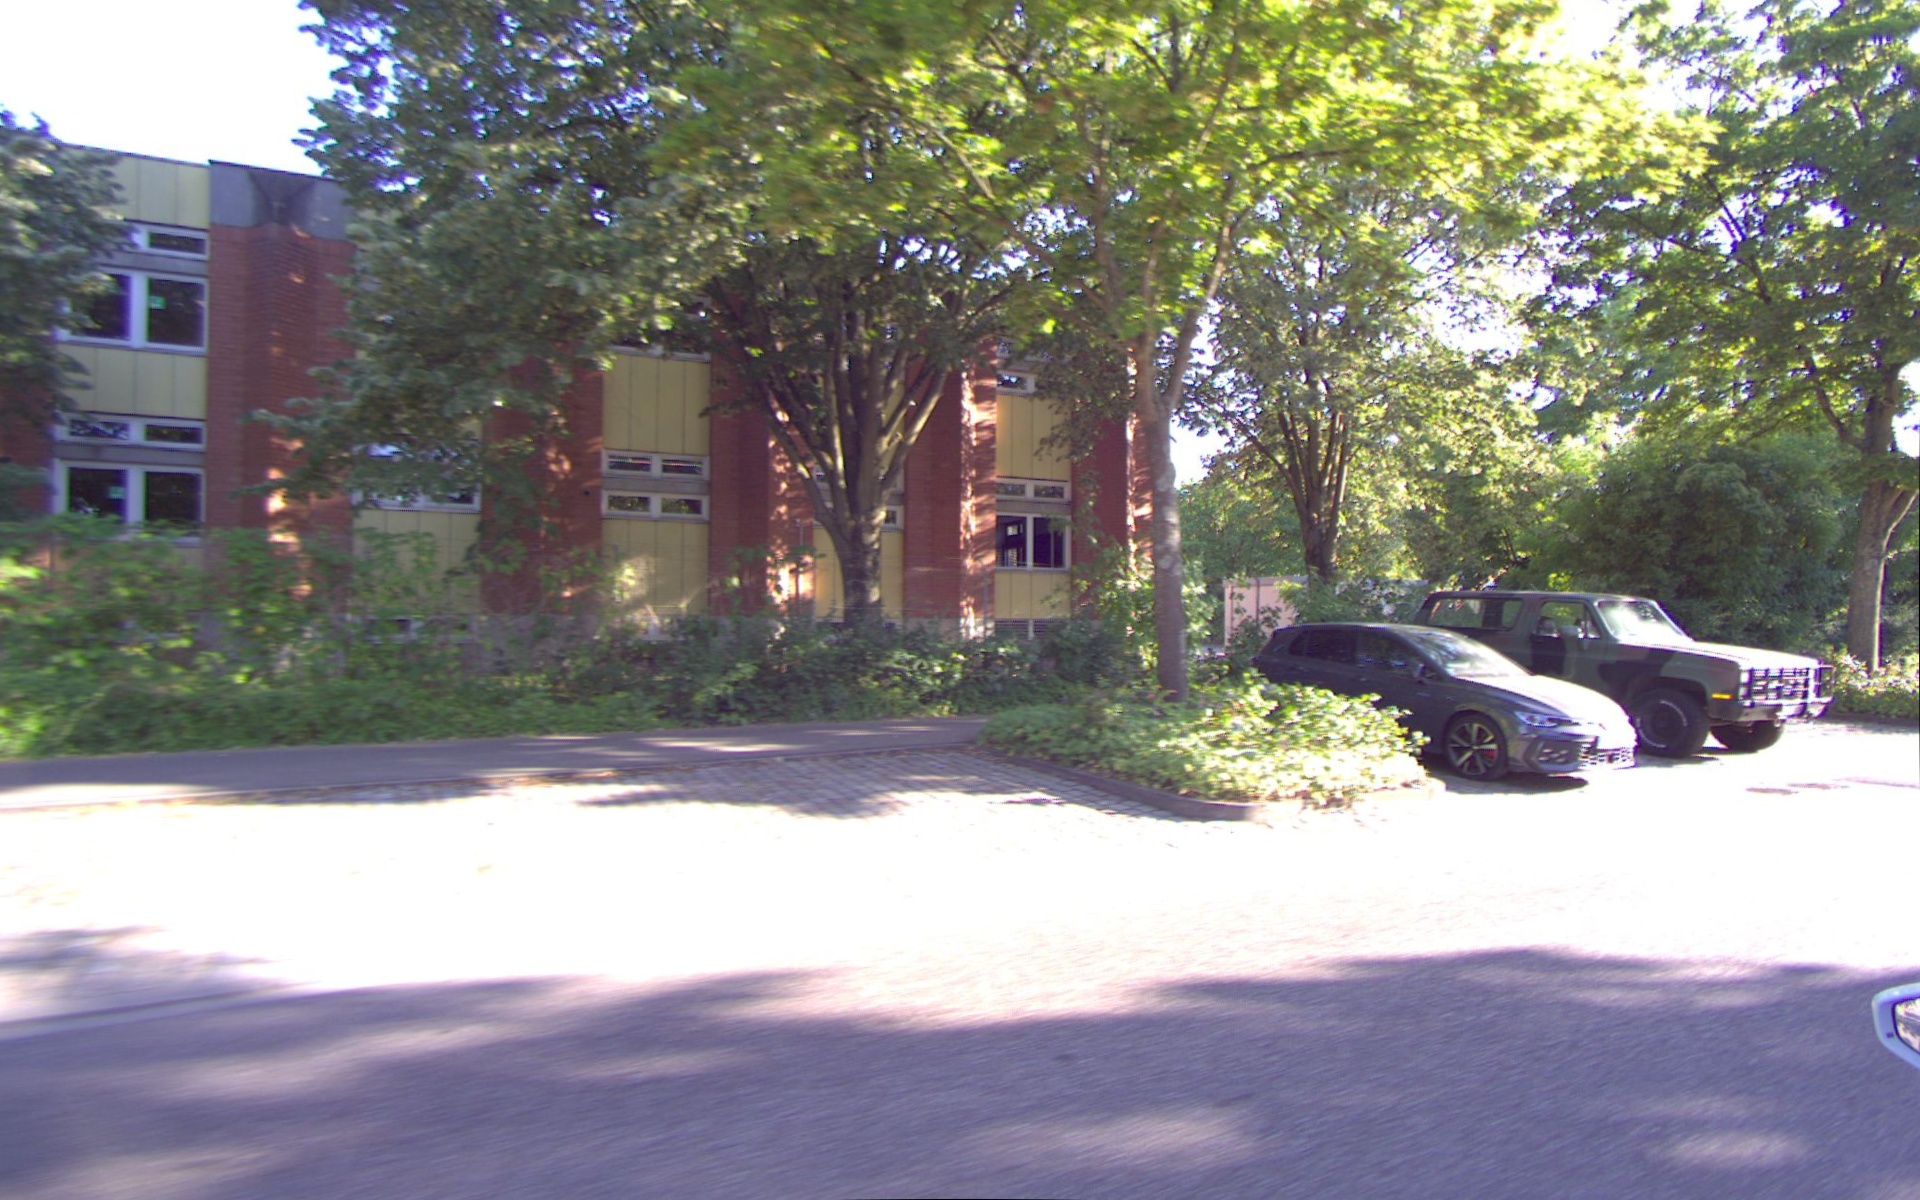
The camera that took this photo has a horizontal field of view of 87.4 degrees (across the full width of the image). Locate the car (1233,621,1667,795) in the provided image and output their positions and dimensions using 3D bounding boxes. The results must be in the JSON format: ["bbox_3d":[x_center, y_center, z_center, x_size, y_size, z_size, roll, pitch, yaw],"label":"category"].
[{"bbox_3d":[5.189,1.020,11.259,1.685,1.550,4.194,1,-1,-29],"label":"car"}]

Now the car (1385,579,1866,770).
[{"bbox_3d":[8.531,0.858,13.480,2.148,2.047,4.983,1,-1,-29],"label":"car"}]
